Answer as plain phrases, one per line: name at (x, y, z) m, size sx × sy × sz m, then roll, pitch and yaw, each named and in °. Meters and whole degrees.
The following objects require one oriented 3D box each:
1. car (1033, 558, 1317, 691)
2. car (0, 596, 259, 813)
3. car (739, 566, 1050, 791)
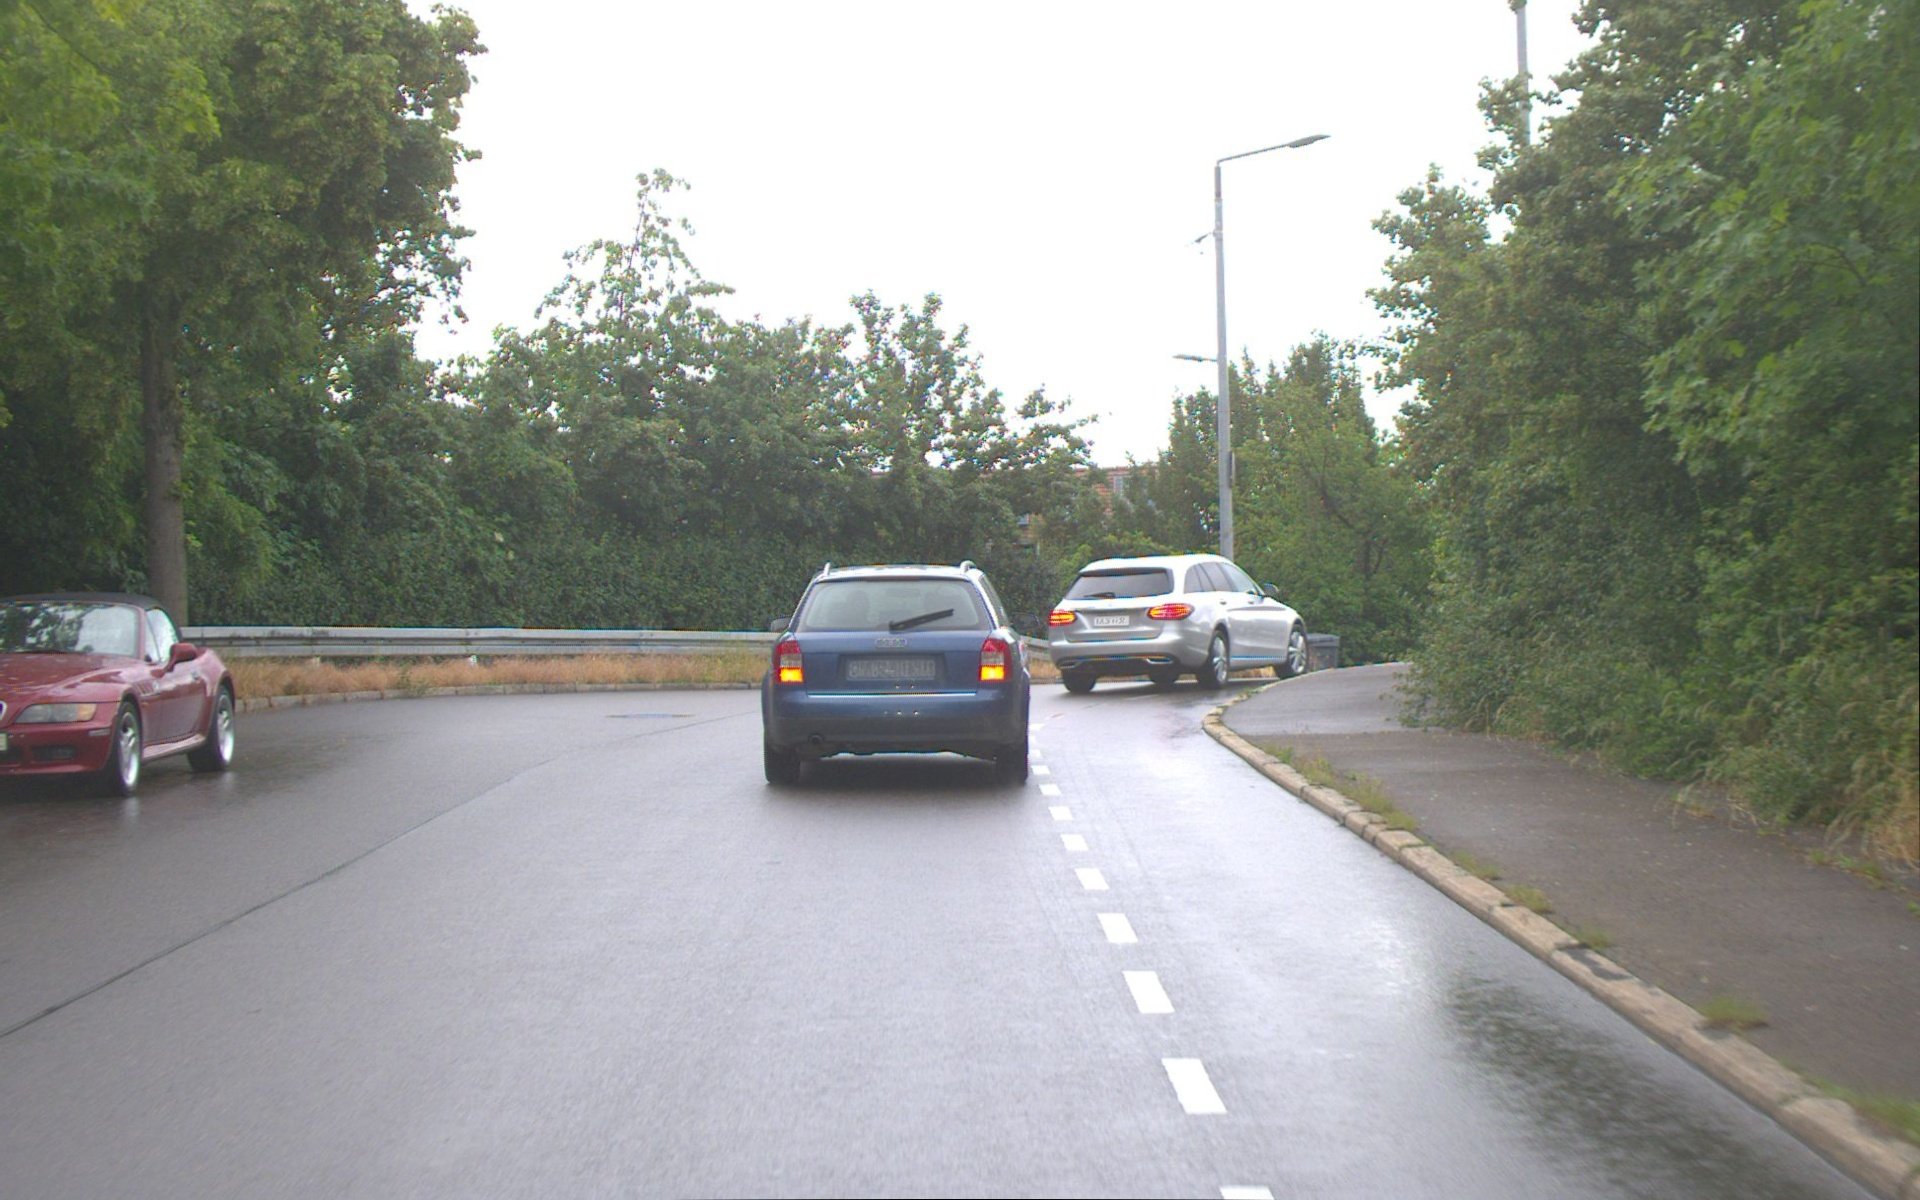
car at (2.450, 0.254, 38.170) m, size 1.893 × 1.384 × 3.995 m, roll -1°, pitch 0°, yaw 23°
car at (-6.152, 0.654, 23.232) m, size 1.789 × 1.292 × 4.325 m, roll -1°, pitch 0°, yaw 2°
car at (-0.358, 0.523, 23.492) m, size 1.747 × 1.403 × 3.999 m, roll 0°, pitch -1°, yaw 4°
